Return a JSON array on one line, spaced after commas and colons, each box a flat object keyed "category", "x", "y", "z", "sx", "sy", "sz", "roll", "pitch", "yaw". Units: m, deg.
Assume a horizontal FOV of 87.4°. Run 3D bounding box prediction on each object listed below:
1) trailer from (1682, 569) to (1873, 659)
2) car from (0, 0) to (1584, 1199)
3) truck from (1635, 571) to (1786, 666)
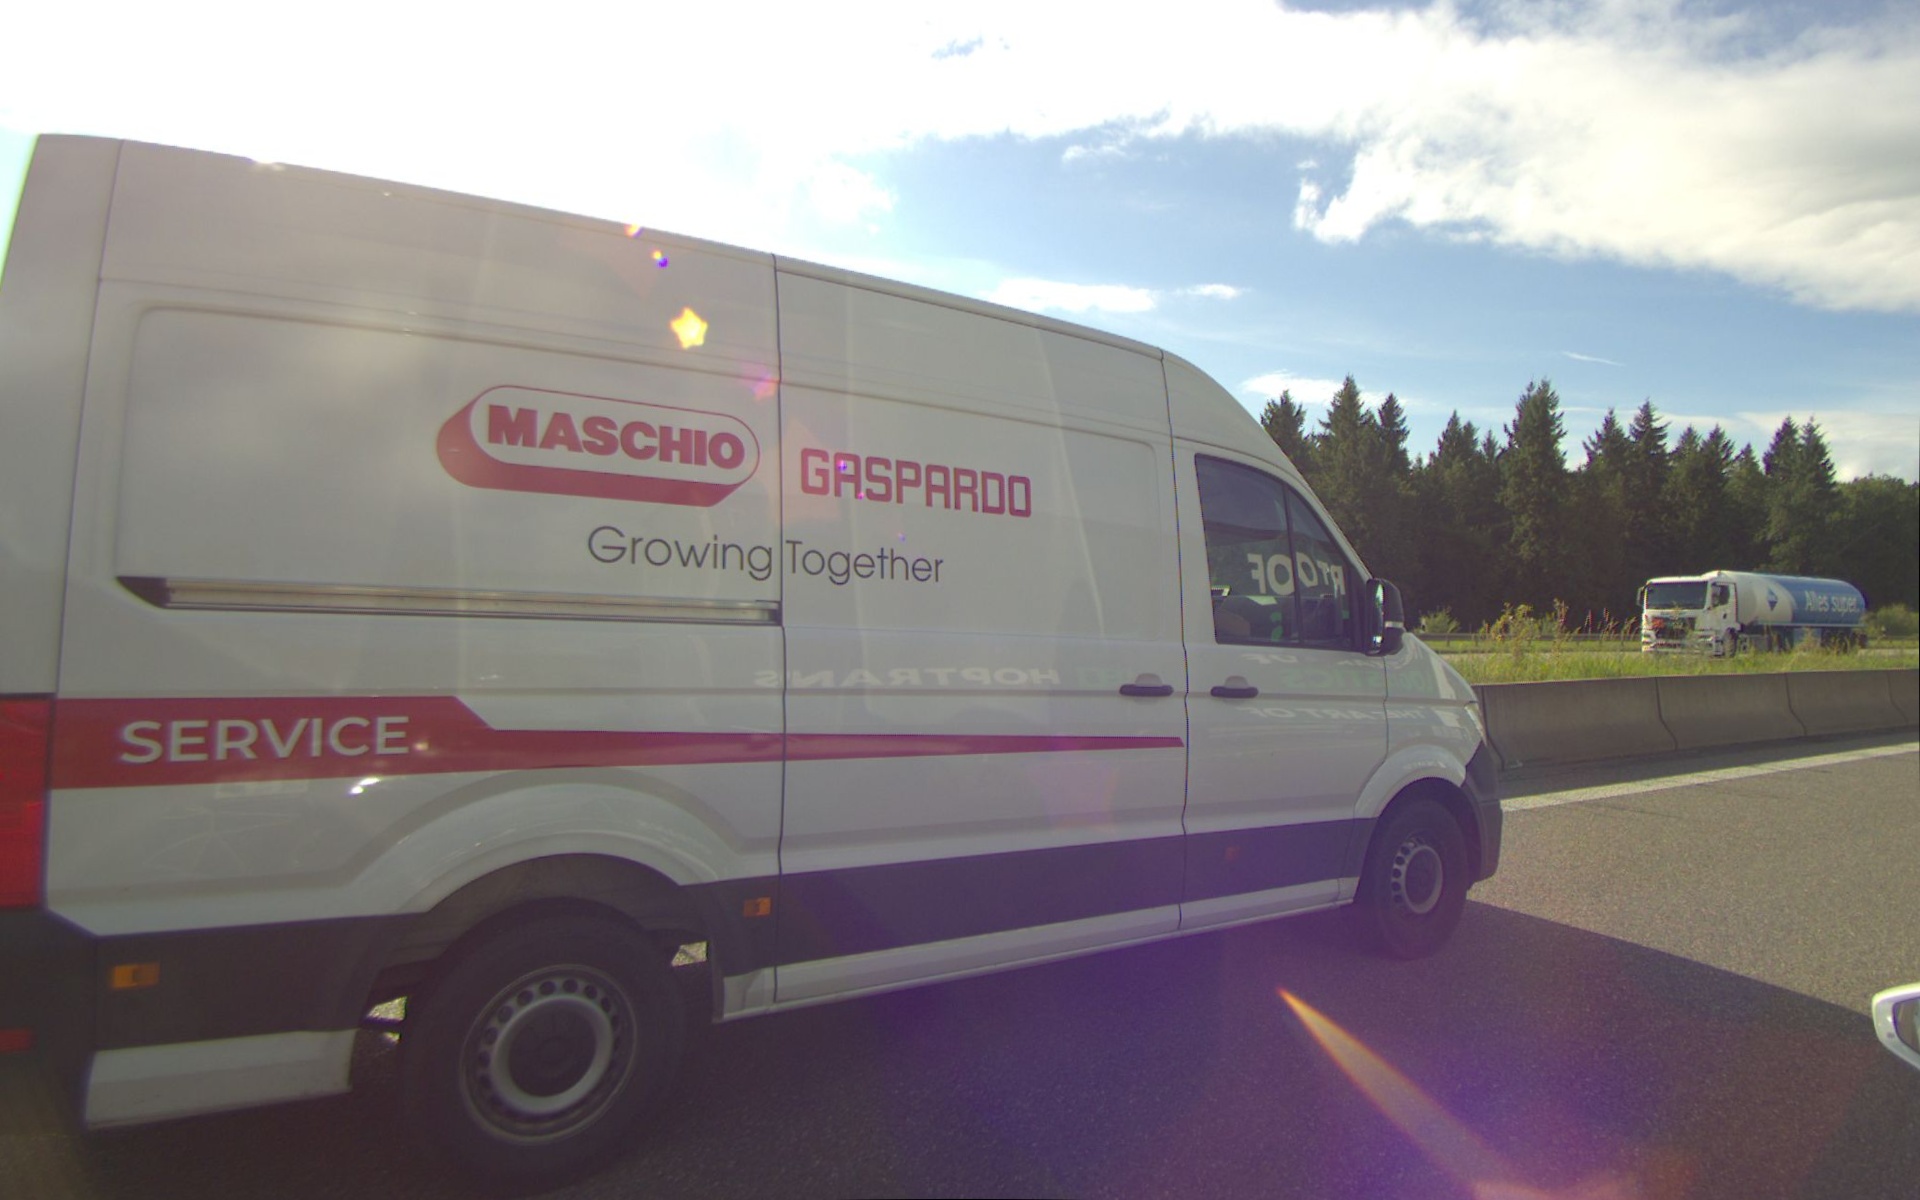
[{"category": "trailer", "x": 33.314, "y": 0.598, "z": 40.731, "sx": 10.747, "sy": 3.328, "sz": 2.310, "roll": 1, "pitch": 1, "yaw": -30}, {"category": "car", "x": -0.121, "y": 0.181, "z": 4.121, "sx": 6.111, "sy": 2.633, "sz": 2.005, "roll": 1, "pitch": -1, "yaw": -31}, {"category": "truck", "x": 28.278, "y": 0.683, "z": 37.778, "sx": 6.033, "sy": 3.317, "sz": 2.306, "roll": 1, "pitch": 1, "yaw": -30}]
